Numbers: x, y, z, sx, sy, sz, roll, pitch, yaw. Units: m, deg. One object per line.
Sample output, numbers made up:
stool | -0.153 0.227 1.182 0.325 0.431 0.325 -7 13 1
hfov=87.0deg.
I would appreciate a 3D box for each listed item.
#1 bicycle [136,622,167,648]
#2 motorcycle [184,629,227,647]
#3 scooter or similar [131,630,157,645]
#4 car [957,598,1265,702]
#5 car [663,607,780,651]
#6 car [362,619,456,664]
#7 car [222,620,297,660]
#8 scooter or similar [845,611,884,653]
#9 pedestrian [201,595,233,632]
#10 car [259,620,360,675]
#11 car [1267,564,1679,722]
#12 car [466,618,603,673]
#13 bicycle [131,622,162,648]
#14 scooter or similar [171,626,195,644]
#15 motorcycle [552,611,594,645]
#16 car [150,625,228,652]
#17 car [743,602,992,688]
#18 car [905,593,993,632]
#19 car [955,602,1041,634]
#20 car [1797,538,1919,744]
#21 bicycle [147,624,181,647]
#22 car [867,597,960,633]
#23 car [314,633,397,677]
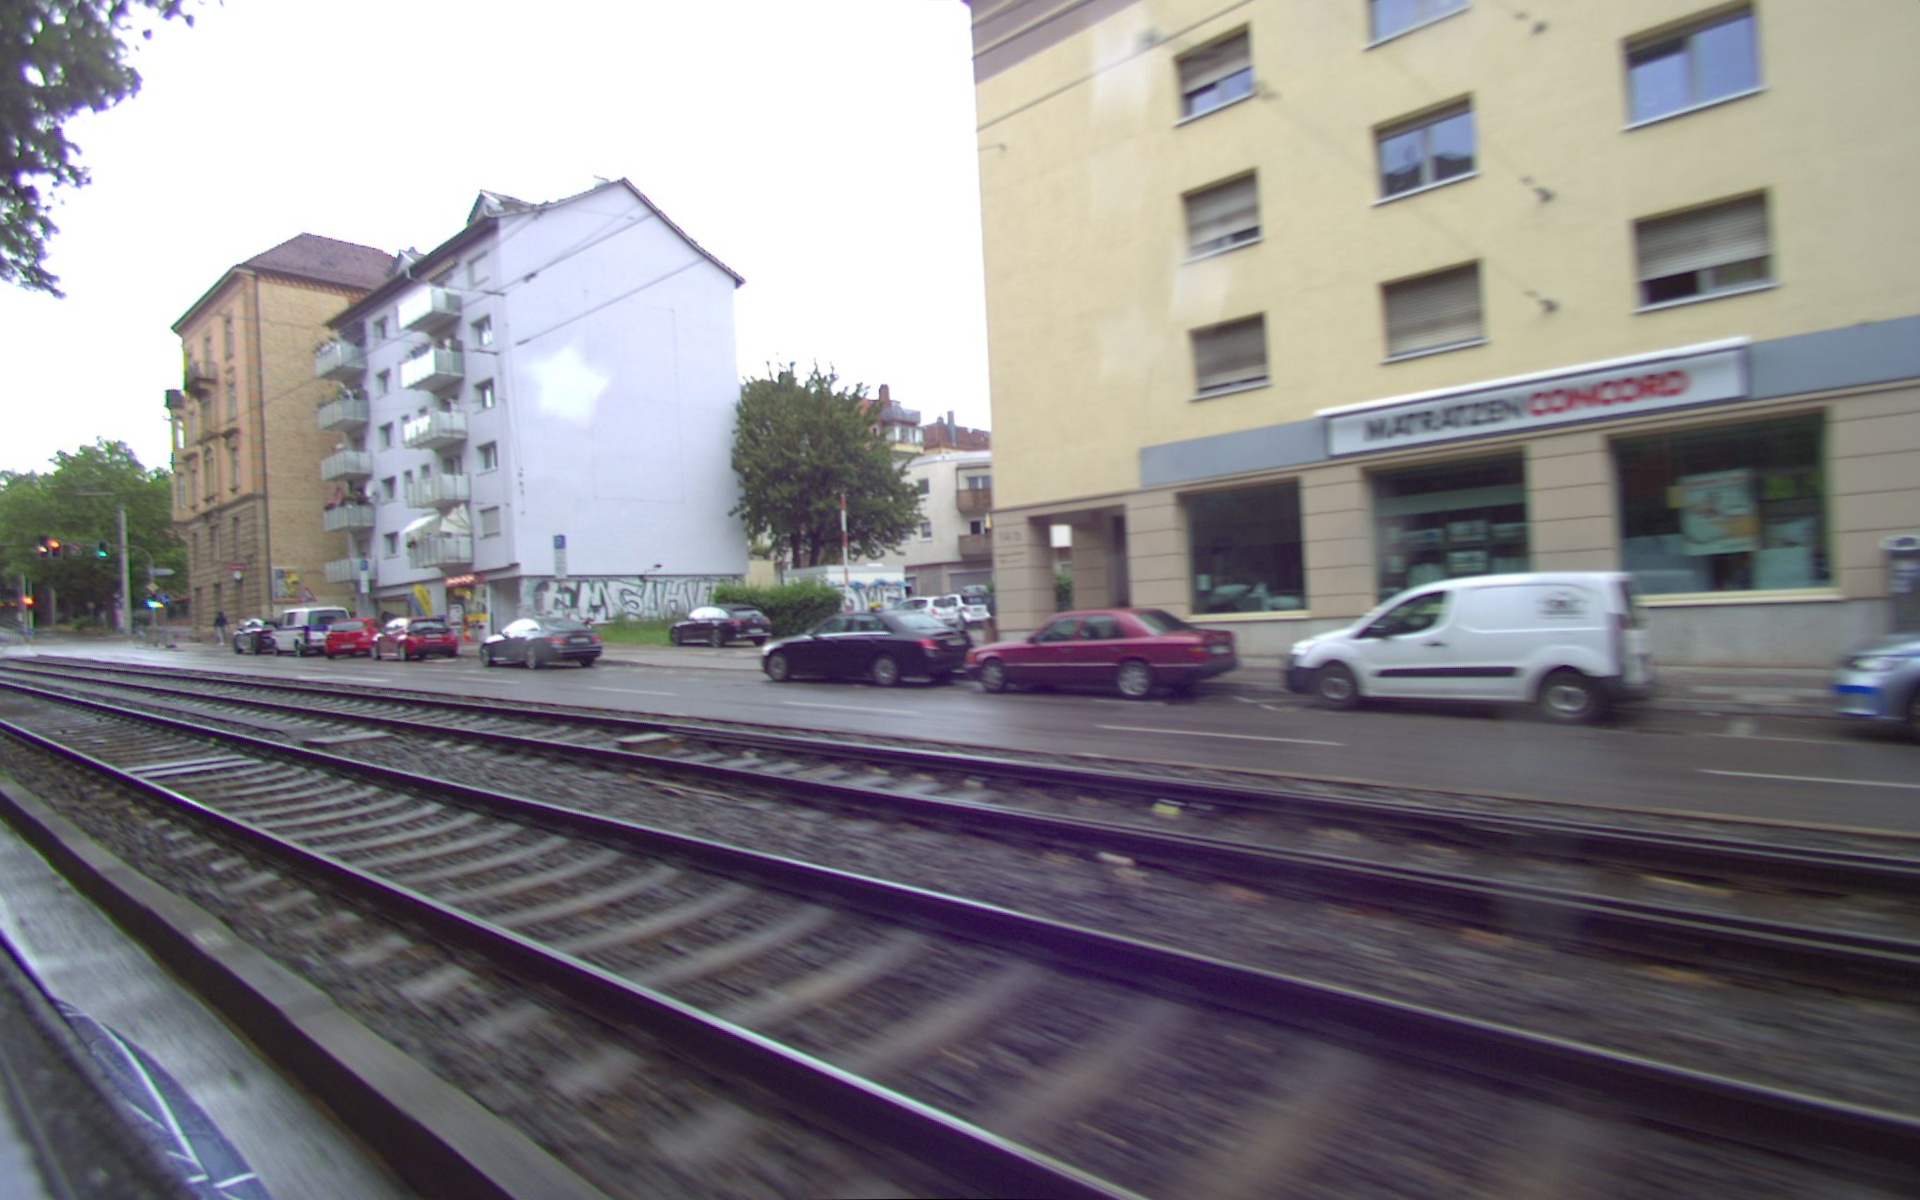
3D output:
bicycle | -66.853 2.907 83.693 0.517 2.029 1.875 -2 1 34
motorcycle | -60.889 3.060 81.687 0.864 1.381 2.628 -1 -1 34
scooter or similar | -68.679 3.158 85.175 0.475 1.203 1.707 -2 0 20
car | 2.384 0.776 16.889 4.829 1.443 1.832 -2 1 41
car | -8.093 0.995 34.131 1.848 1.313 4.482 -2 -1 -43
car | -19.261 1.420 35.330 4.073 1.462 1.636 -2 0 43
car | -31.699 1.784 45.765 4.360 1.663 1.715 -2 0 40
scooter or similar | -2.741 0.916 29.152 0.378 1.121 1.280 -3 0 34
pedestrian | -39.821 0.732 54.242 1.178 1.943 1.159 -2 0 43
car | -27.316 1.980 42.425 5.298 2.024 2.049 -3 2 41
car | 6.549 0.505 13.247 4.459 1.730 1.847 -2 0 42
car | -12.196 1.271 28.865 4.618 1.406 1.663 -2 0 40
bicycle | -67.684 2.931 84.244 0.517 2.029 1.875 -2 1 34
scooter or similar | -62.970 2.856 82.019 0.450 1.381 1.495 -2 0 24
motorcycle | -14.767 1.054 38.588 1.783 1.209 0.633 0 4 40
car | -49.206 2.415 64.665 1.757 1.550 3.788 -1 0 8
car | -1.946 0.867 20.341 4.981 1.519 1.835 -2 0 36
car | -0.528 0.541 45.081 1.649 1.645 3.906 -2 1 -44
car | 1.726 0.796 46.239 3.742 1.352 1.650 -1 1 43
car | 11.065 0.298 9.040 5.454 1.919 1.974 -2 1 40
bicycle | -64.878 2.876 82.513 0.555 1.711 2.073 -2 0 34
car | -1.997 0.661 43.096 3.902 1.411 1.650 -2 -1 42
car | -23.522 2.094 39.550 1.755 1.444 3.993 -2 0 -15
